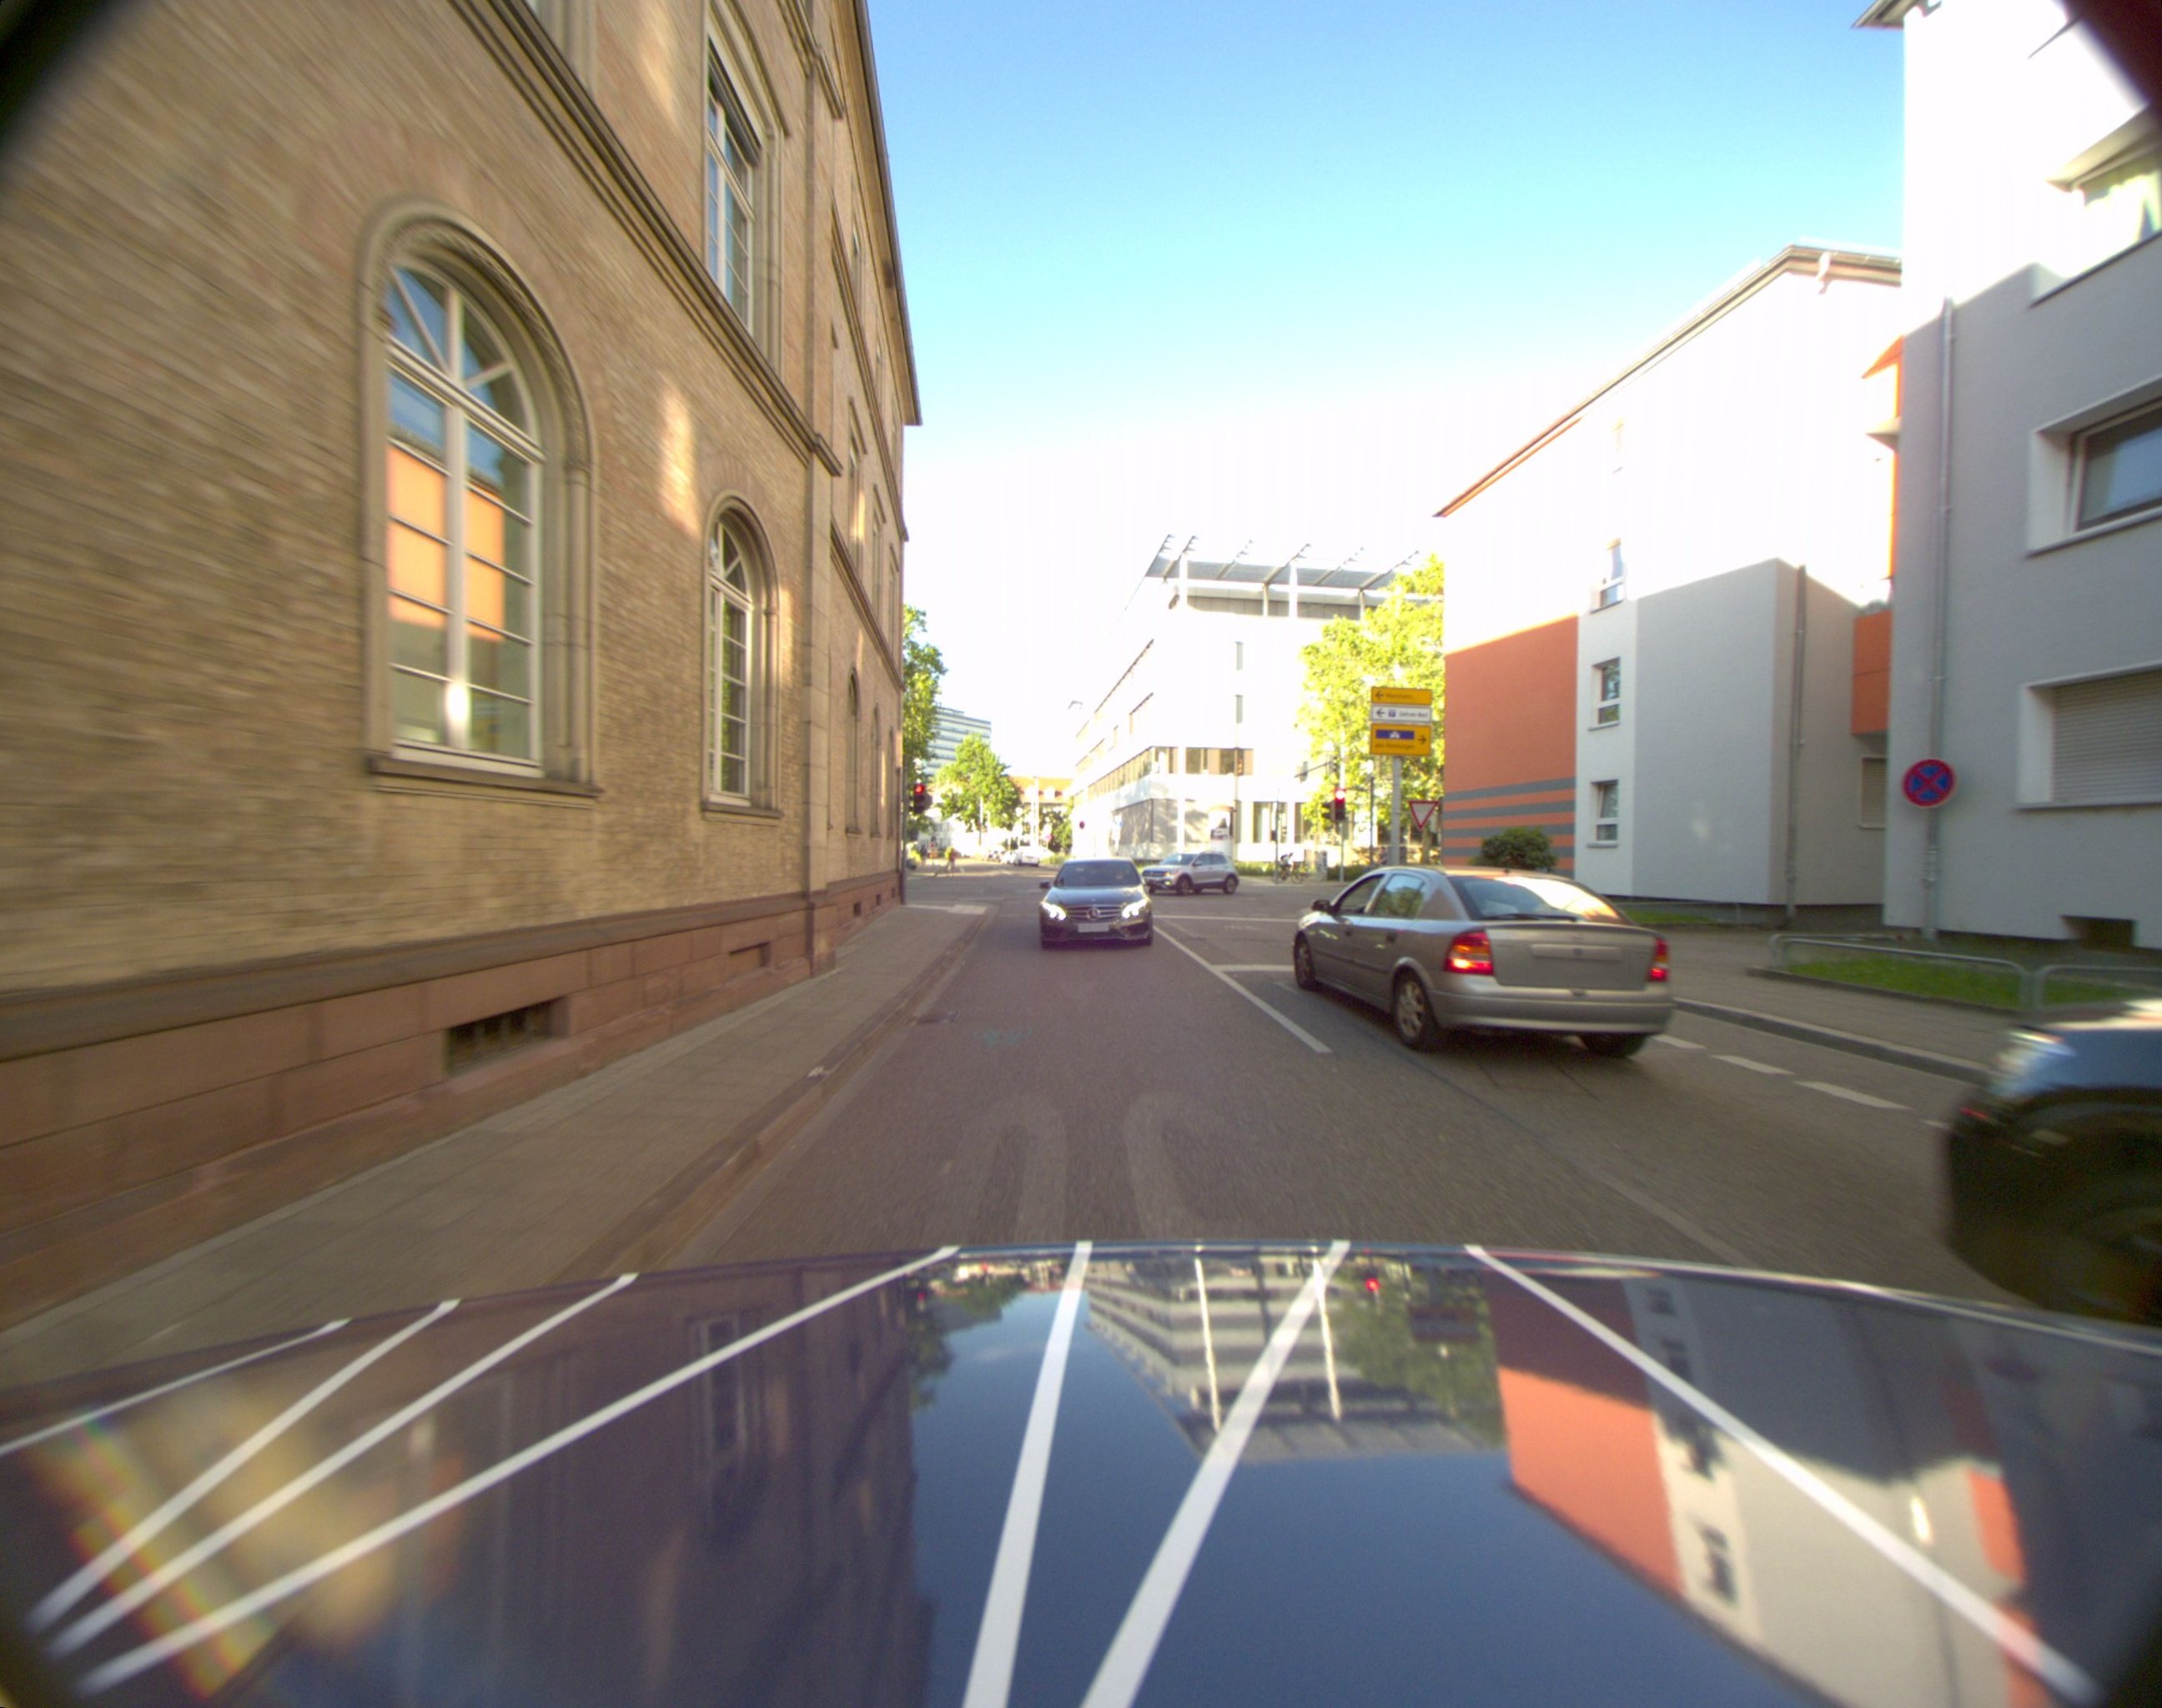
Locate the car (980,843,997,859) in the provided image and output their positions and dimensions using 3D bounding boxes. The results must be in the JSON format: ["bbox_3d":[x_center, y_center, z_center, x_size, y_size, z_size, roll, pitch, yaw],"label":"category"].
[{"bbox_3d":[-12.356,-0.396,101.849,2.000,2.001,3.997,0,-1,-11],"label":"car"}]

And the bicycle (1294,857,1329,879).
[{"bbox_3d":[12.902,0.766,42.646,0.471,1.175,1.987,-1,2,-37],"label":"bicycle"}]

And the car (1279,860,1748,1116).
[{"bbox_3d":[3.233,0.856,6.800,1.745,1.477,4.136,2,0,-1],"label":"car"}]

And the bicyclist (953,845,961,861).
[{"bbox_3d":[-12.674,-0.123,77.459,0.762,1.583,0.900,0,1,-13],"label":"bicyclist"}]

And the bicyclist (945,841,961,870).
[{"bbox_3d":[-7.870,0.088,46.748,0.978,1.797,1.130,0,1,-10],"label":"bicyclist"}]

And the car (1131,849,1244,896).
[{"bbox_3d":[3.877,0.606,27.288,4.008,1.594,1.743,0,1,-39],"label":"car"}]

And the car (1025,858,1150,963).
[{"bbox_3d":[0.262,0.839,13.406,1.798,1.460,4.720,-1,0,4],"label":"car"}]

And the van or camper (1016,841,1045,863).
[{"bbox_3d":[-4.776,-0.182,71.430,2.163,2.002,4.971,0,1,-10],"label":"van or camper"}]

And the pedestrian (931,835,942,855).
[{"bbox_3d":[-24.289,-1.480,127.577,1.462,3.290,1.403,-1,1,-27],"label":"pedestrian"}]

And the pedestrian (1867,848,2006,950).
[{"bbox_3d":[13.700,0.687,12.205,1.014,1.563,1.079,0,1,-5],"label":"pedestrian"}]

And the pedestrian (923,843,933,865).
[{"bbox_3d":[-12.555,-0.005,62.310,0.668,1.844,1.024,0,1,-19],"label":"pedestrian"}]

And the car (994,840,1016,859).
[{"bbox_3d":[-8.170,-0.445,81.228,2.000,2.002,3.996,0,1,-11],"label":"car"}]

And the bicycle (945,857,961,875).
[{"bbox_3d":[-7.917,0.717,46.921,0.943,1.032,3.003,0,0,-11],"label":"bicycle"}]

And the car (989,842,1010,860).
[{"bbox_3d":[-9.236,-0.381,85.800,2.000,2.002,3.996,0,1,-11],"label":"car"}]

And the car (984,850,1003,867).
[{"bbox_3d":[-10.546,0.477,91.544,2.000,2.002,3.996,0,1,-11],"label":"car"}]

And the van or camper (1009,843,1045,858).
[{"bbox_3d":[-7.687,-0.506,108.568,4.736,2.075,1.996,0,1,-20],"label":"van or camper"}]

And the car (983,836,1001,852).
[{"bbox_3d":[-11.447,-1.321,97.461,2.000,2.002,3.996,0,1,-11],"label":"car"}]
